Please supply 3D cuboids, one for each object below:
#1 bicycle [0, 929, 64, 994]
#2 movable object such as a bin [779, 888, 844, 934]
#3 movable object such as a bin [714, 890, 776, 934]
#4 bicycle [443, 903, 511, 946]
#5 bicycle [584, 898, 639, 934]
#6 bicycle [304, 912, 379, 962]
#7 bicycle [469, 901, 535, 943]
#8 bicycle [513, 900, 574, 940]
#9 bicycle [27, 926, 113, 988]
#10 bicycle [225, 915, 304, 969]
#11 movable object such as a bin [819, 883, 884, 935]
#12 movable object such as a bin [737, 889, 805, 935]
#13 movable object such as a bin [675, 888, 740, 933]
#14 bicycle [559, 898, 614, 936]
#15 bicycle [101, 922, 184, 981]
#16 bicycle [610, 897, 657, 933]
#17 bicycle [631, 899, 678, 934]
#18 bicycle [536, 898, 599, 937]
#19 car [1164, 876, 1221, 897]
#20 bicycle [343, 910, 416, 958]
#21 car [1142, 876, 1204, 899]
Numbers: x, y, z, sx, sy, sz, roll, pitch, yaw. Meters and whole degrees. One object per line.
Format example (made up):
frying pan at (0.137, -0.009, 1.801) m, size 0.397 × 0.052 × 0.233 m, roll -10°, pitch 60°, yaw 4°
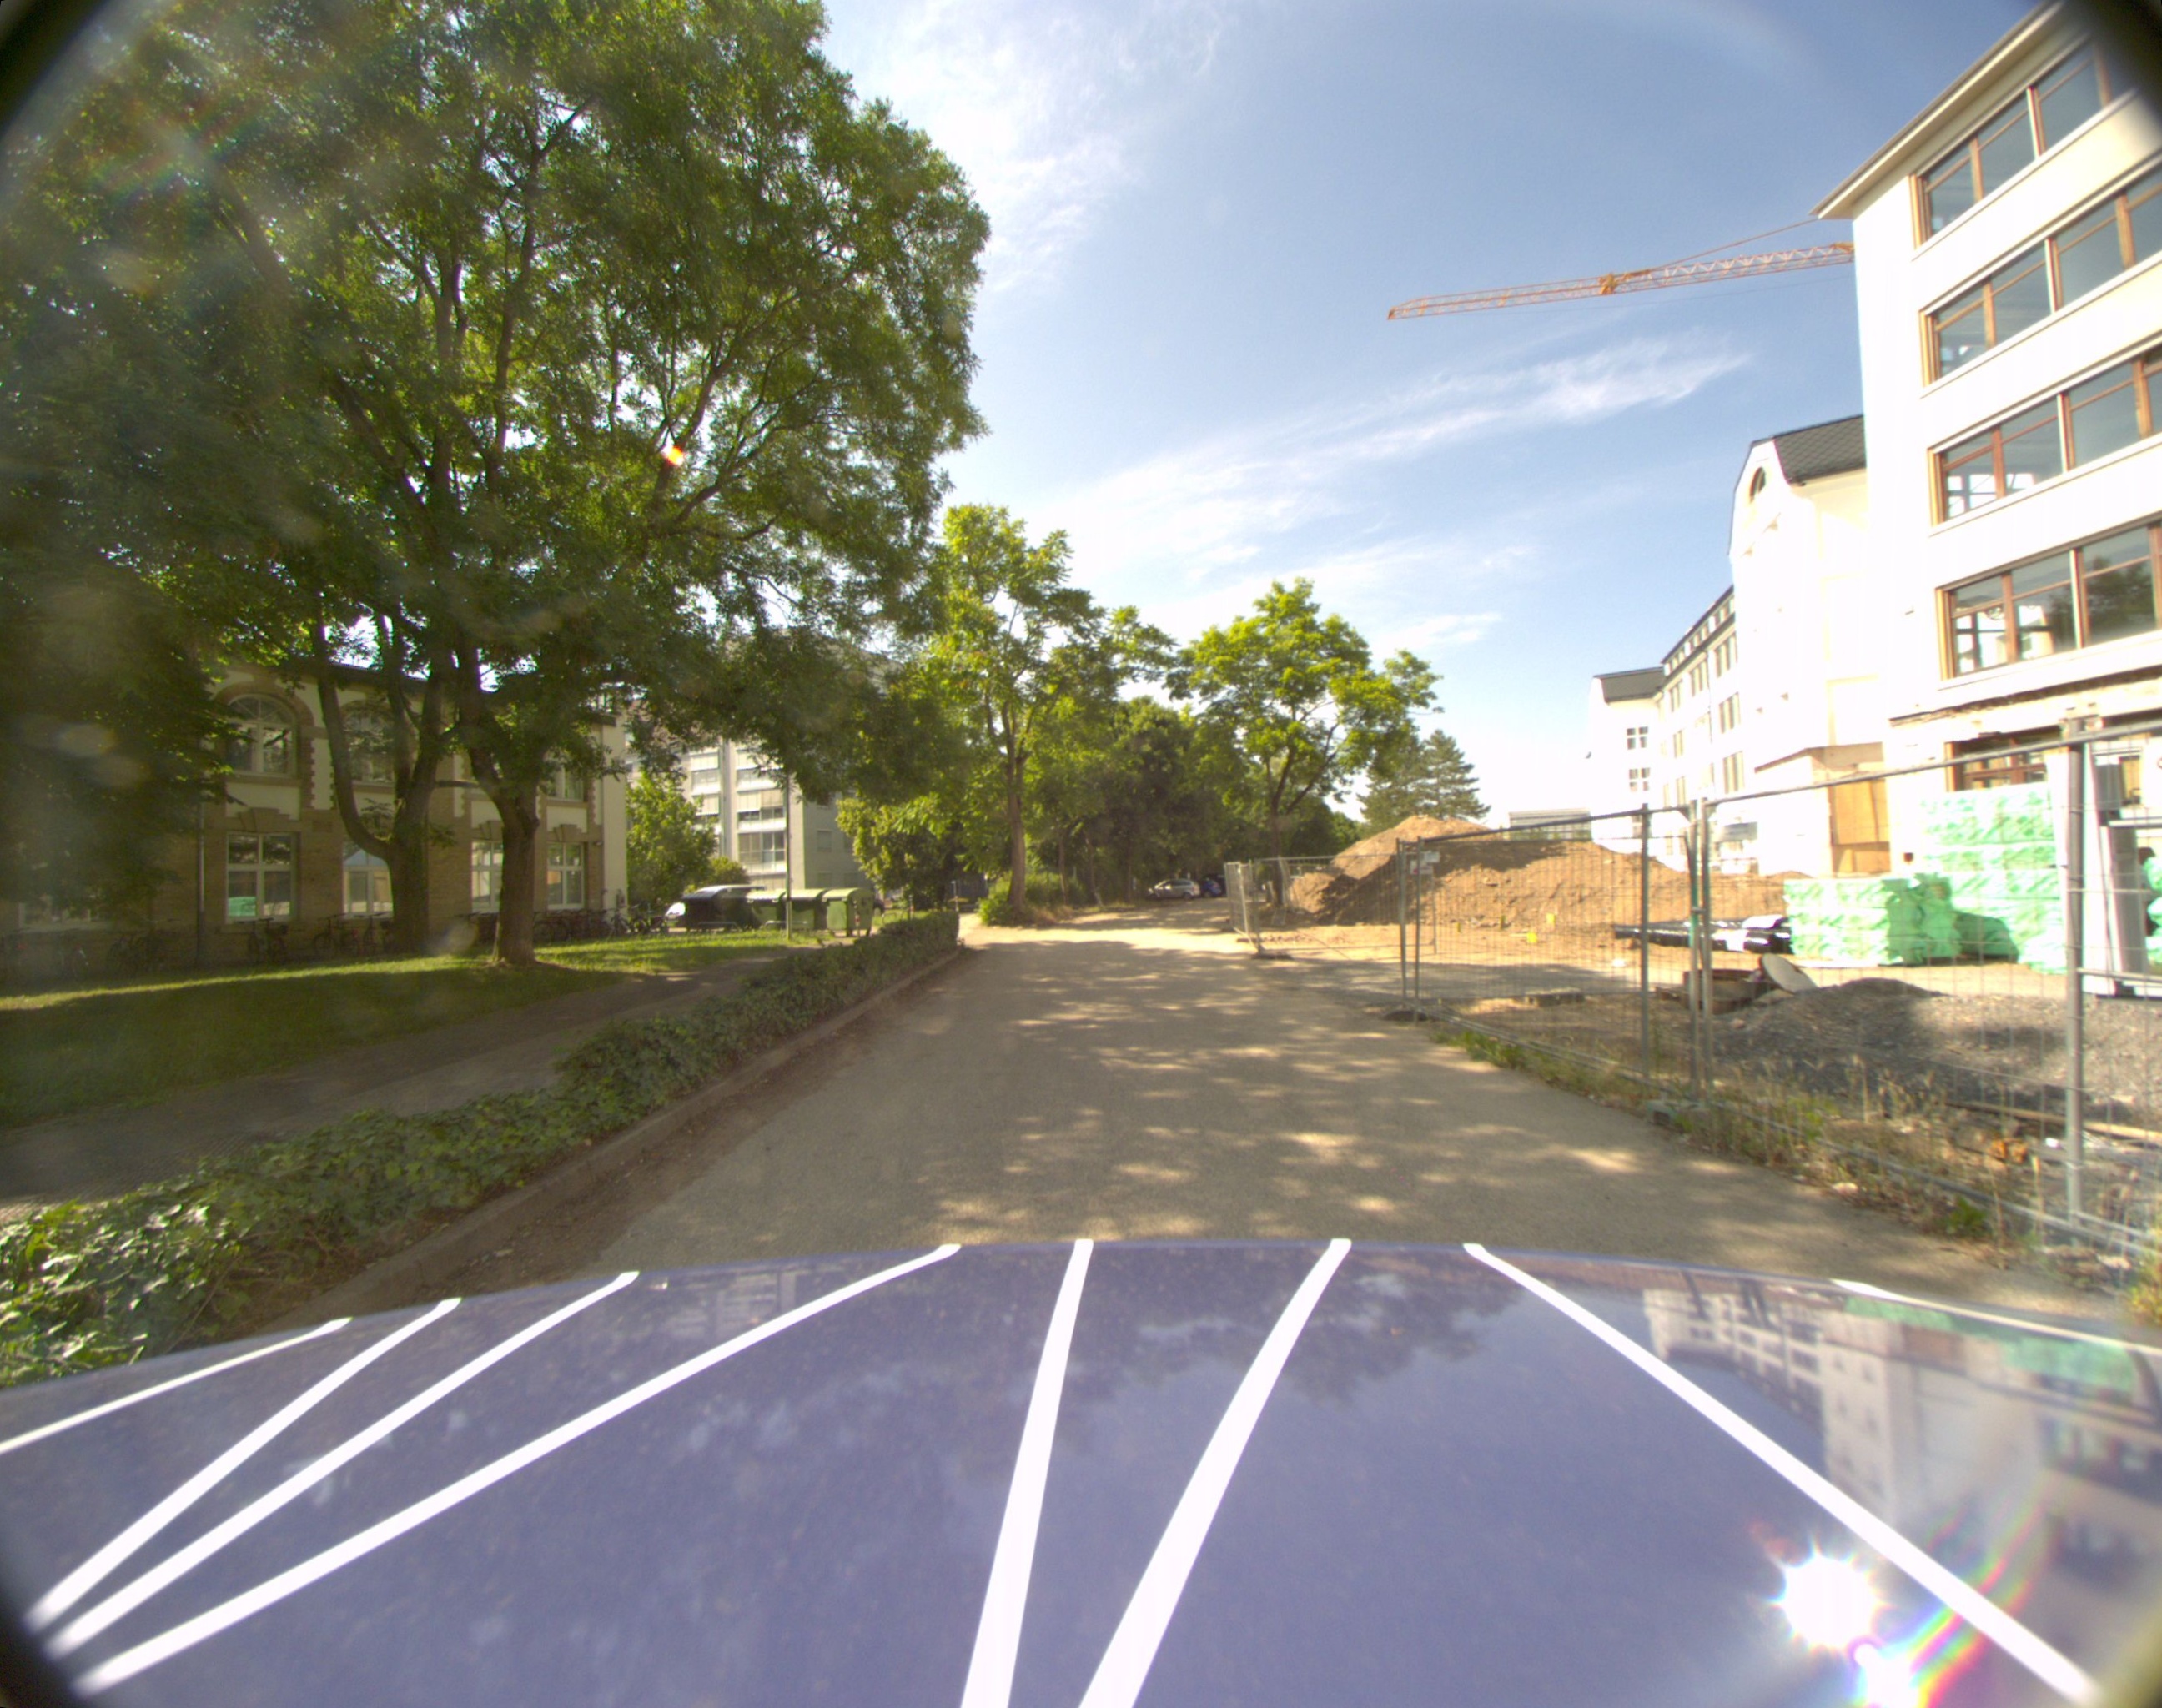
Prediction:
bicycle at (-20.497, 2.052, 14.666) m, size 2.097 × 1.154 × 0.589 m, roll -3°, pitch -1°, yaw 24°
movable object such as a bin at (-8.221, 1.732, 23.191) m, size 1.352 × 1.292 × 1.217 m, roll -2°, pitch -1°, yaw 21°
movable object such as a bin at (-10.883, 1.867, 24.646) m, size 1.349 × 1.341 × 1.217 m, roll -2°, pitch -1°, yaw 21°
bicycle at (-17.172, 2.003, 21.579) m, size 2.097 × 1.154 × 0.589 m, roll -3°, pitch -1°, yaw 24°
bicycle at (-15.579, 2.064, 25.199) m, size 1.847 × 1.154 × 0.614 m, roll -3°, pitch -1°, yaw 24°
bicycle at (-18.473, 2.056, 18.968) m, size 2.097 × 1.154 × 0.589 m, roll -3°, pitch -1°, yaw 24°
bicycle at (-16.945, 1.998, 22.213) m, size 2.097 × 1.154 × 0.589 m, roll -3°, pitch -1°, yaw 24°
bicycle at (-16.393, 2.015, 23.166) m, size 1.917 × 1.154 × 0.589 m, roll -3°, pitch -1°, yaw 24°
bicycle at (-20.352, 2.049, 15.285) m, size 2.097 × 1.154 × 0.589 m, roll -3°, pitch -1°, yaw 24°
bicycle at (-19.074, 2.043, 17.741) m, size 2.097 × 1.154 × 0.589 m, roll -3°, pitch -1°, yaw 24°
movable object such as a bin at (-6.844, 1.629, 22.678) m, size 1.389 × 1.454 × 1.218 m, roll -3°, pitch -1°, yaw 36°
movable object such as a bin at (-9.656, 1.801, 23.697) m, size 1.499 × 1.353 × 1.217 m, roll -2°, pitch -1°, yaw 21°
movable object such as a bin at (-12.356, 1.864, 25.194) m, size 1.433 × 1.401 × 1.252 m, roll -2°, pitch -1°, yaw 20°
bicycle at (-15.891, 2.020, 24.393) m, size 1.909 × 1.154 × 0.495 m, roll -3°, pitch -1°, yaw 24°
bicycle at (-19.907, 2.049, 16.108) m, size 2.097 × 1.154 × 0.589 m, roll -3°, pitch -1°, yaw 24°
bicycle at (-15.170, 2.075, 25.726) m, size 1.800 × 1.154 × 0.508 m, roll -3°, pitch -1°, yaw 29°
bicycle at (-14.697, 2.139, 26.163) m, size 1.940 × 1.154 × 0.558 m, roll -3°, pitch -1°, yaw 34°
bicycle at (-16.149, 1.992, 23.878) m, size 2.097 × 1.154 × 0.589 m, roll -3°, pitch -1°, yaw 24°
car at (8.652, 2.522, 58.796) m, size 3.991 × 1.433 × 2.003 m, roll -2°, pitch -2°, yaw 19°
bicycle at (-18.184, 2.061, 19.689) m, size 2.097 × 1.154 × 0.589 m, roll -3°, pitch -1°, yaw 24°
car at (6.534, 2.393, 53.835) m, size 3.991 × 1.499 × 2.003 m, roll -2°, pitch -2°, yaw 19°
